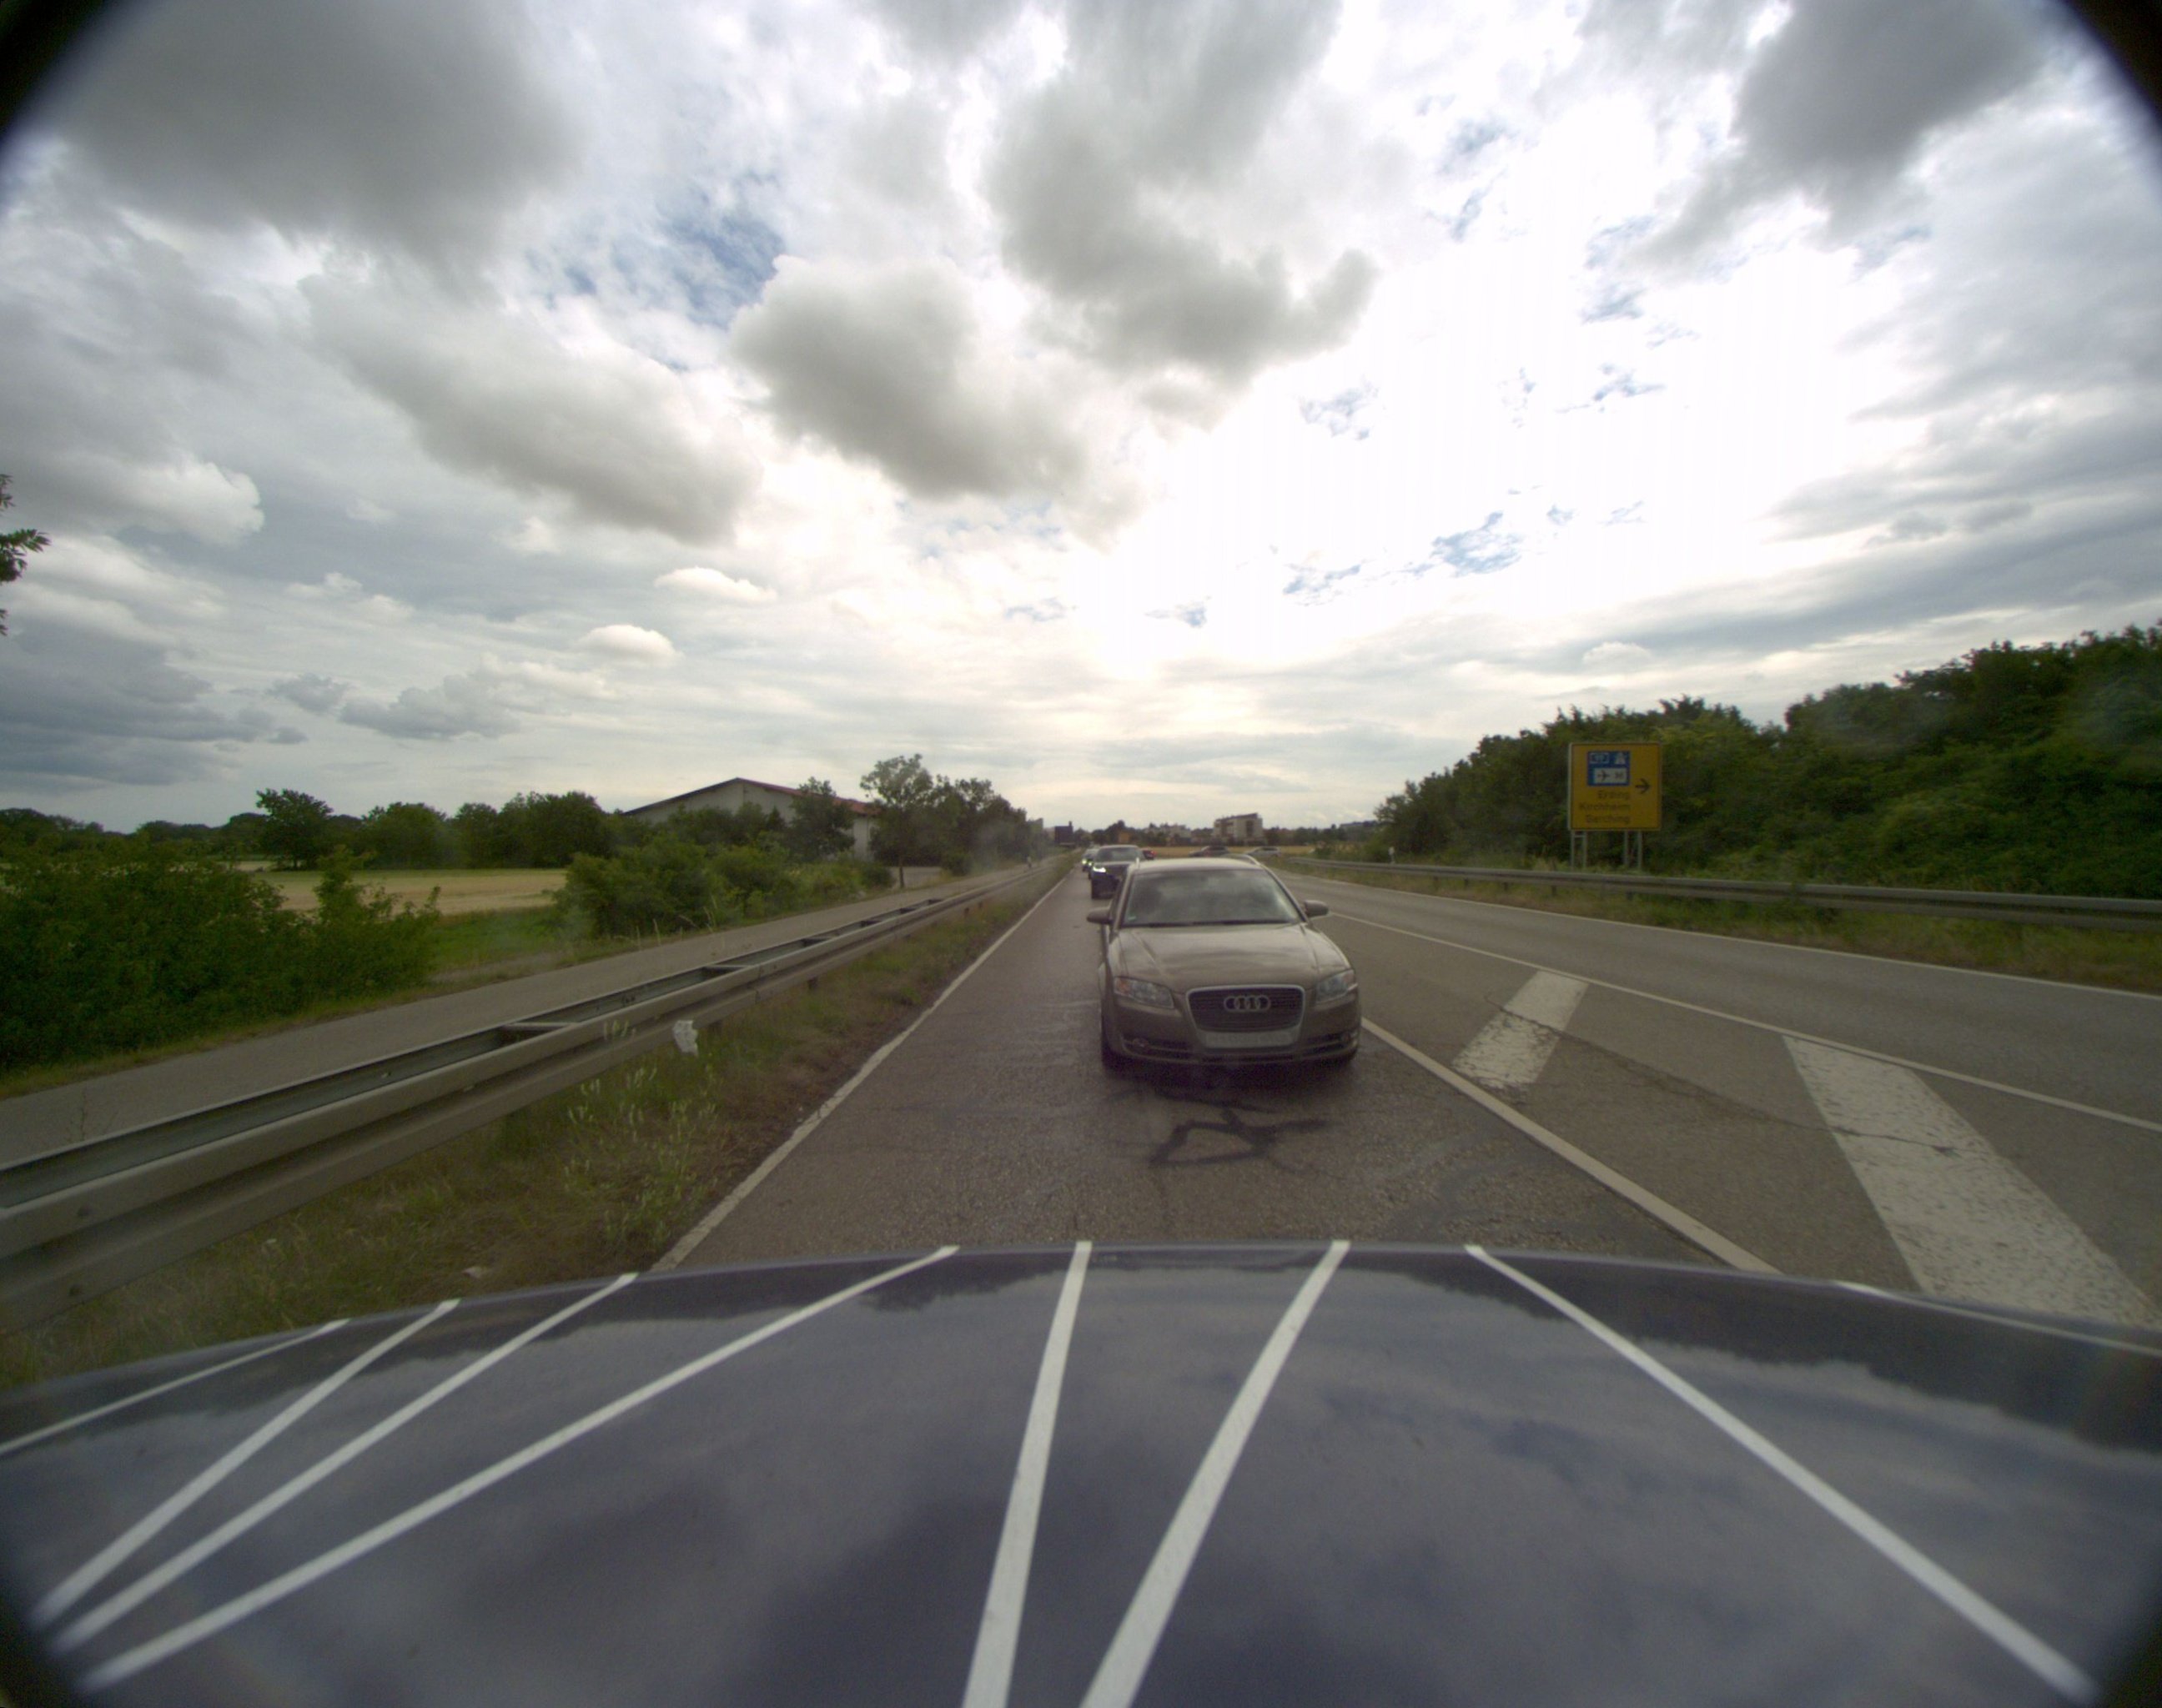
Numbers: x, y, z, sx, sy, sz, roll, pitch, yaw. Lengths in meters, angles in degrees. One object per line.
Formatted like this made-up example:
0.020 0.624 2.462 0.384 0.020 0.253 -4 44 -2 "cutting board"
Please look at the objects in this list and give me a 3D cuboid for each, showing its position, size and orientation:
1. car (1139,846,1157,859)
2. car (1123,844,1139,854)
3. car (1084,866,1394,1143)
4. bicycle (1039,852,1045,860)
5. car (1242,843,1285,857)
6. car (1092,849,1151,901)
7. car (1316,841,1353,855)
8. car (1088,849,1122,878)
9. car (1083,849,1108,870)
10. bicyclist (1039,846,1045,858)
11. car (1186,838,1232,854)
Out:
8.254 -0.203 93.604 1.804 1.442 4.445 -1 1 0 "car"
8.005 -0.767 121.946 1.999 1.481 3.837 -1 1 -3 "car"
0.927 0.887 6.404 1.730 1.436 4.204 -1 1 1 "car"
-4.969 0.289 96.470 0.640 0.973 2.072 -1 1 1 "bicycle"
20.939 -0.496 87.387 4.672 1.490 2.001 -1 1 11 "car"
1.262 0.629 25.271 1.730 1.534 4.204 -2 1 1 "car"
28.530 -0.715 85.606 3.714 1.490 1.731 -1 1 8 "car"
1.304 0.478 42.258 1.730 1.478 4.204 -2 1 1 "car"
1.079 0.403 57.159 1.730 1.436 4.204 -2 1 1 "car"
-4.976 -0.241 96.438 0.640 1.573 0.969 -1 1 1 "bicyclist"
14.727 -0.925 87.524 4.815 1.680 1.999 -1 1 -3 "car"
